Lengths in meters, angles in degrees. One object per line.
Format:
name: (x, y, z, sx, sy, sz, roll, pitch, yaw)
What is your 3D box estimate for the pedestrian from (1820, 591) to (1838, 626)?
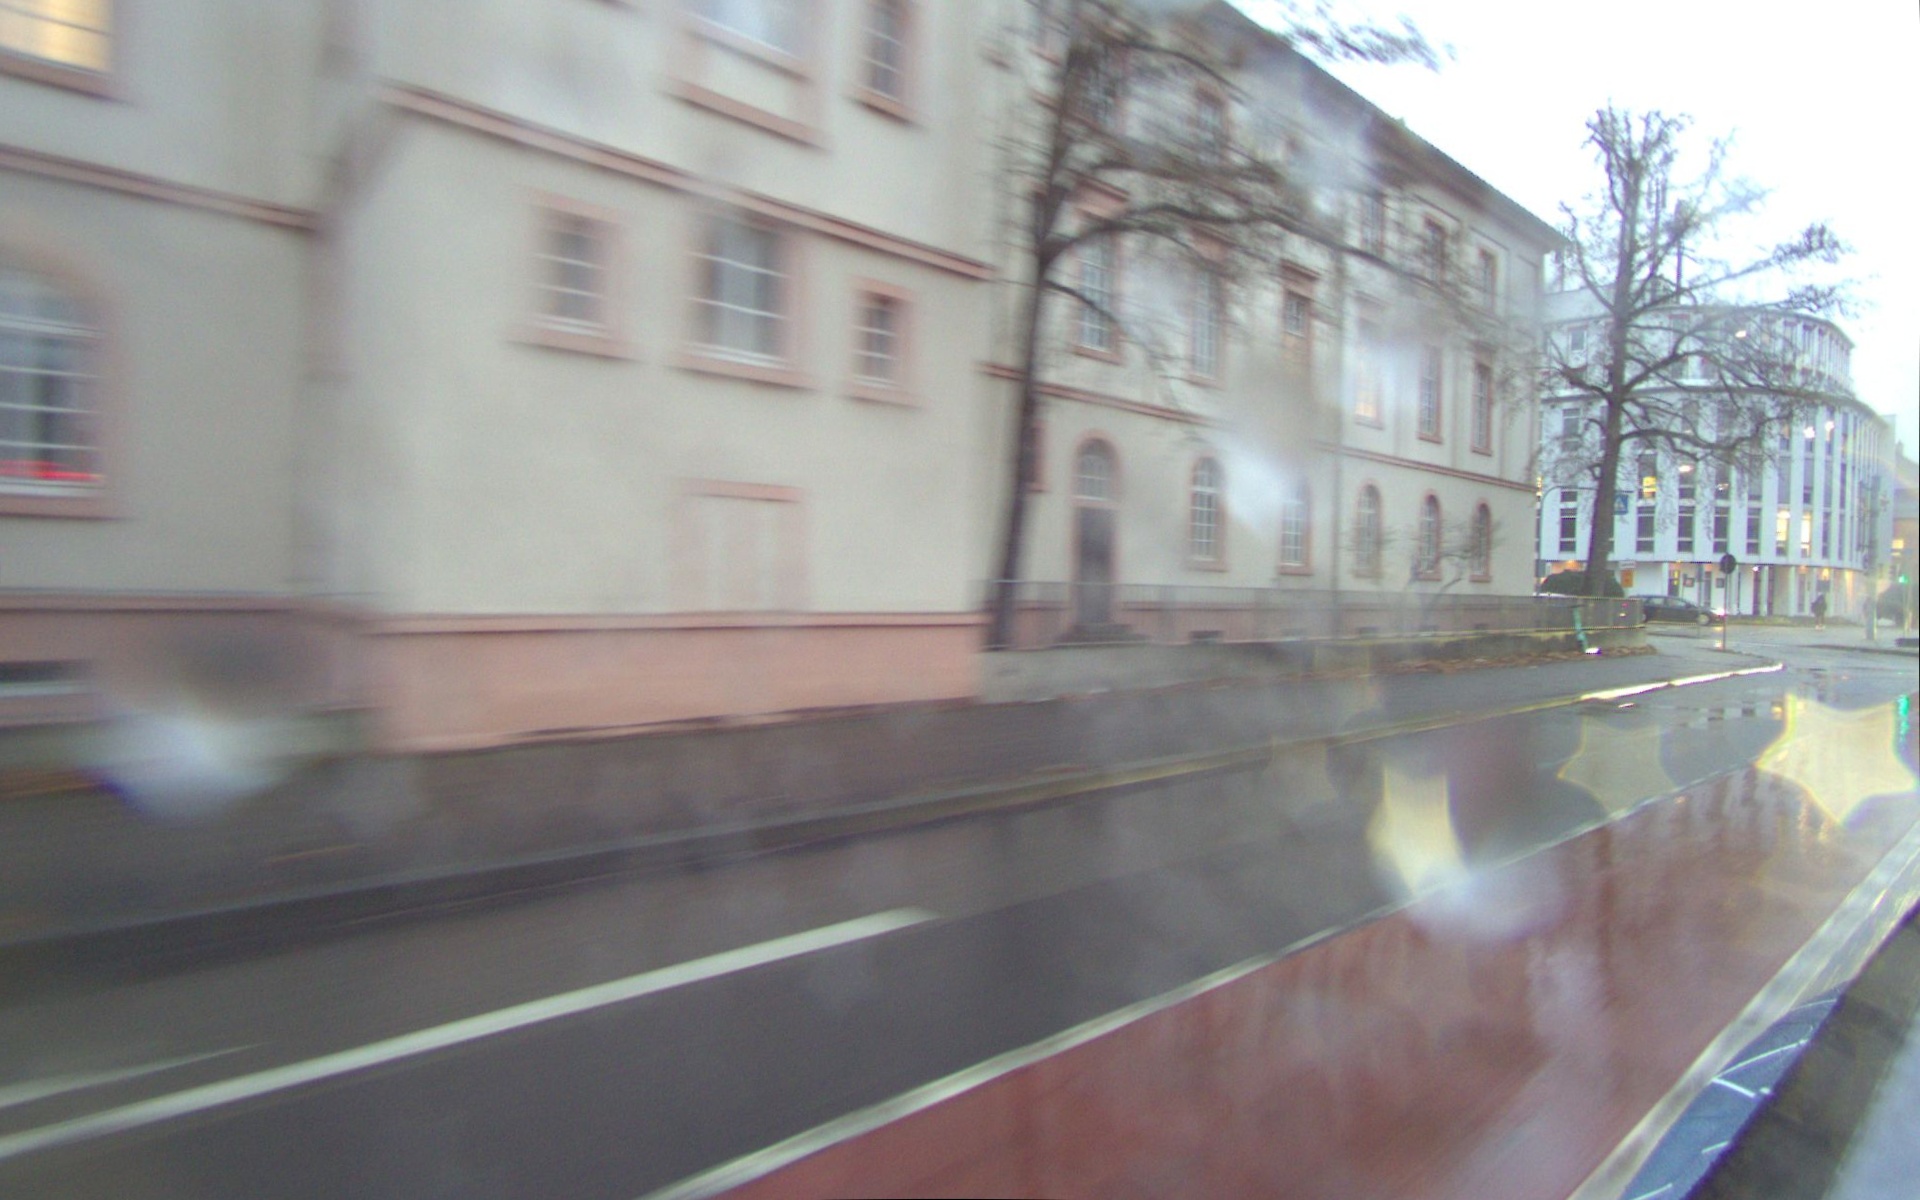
pedestrian: (41.251, 0.397, 48.044, 0.653, 1.609, 0.554, 1, 0, 41)

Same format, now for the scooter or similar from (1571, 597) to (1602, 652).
scooter or similar: (14.368, 0.557, 23.204, 0.440, 1.219, 1.065, 1, 0, 40)

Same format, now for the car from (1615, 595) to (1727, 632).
car: (36.538, 0.678, 52.062, 4.548, 1.739, 1.700, 1, 0, 41)
